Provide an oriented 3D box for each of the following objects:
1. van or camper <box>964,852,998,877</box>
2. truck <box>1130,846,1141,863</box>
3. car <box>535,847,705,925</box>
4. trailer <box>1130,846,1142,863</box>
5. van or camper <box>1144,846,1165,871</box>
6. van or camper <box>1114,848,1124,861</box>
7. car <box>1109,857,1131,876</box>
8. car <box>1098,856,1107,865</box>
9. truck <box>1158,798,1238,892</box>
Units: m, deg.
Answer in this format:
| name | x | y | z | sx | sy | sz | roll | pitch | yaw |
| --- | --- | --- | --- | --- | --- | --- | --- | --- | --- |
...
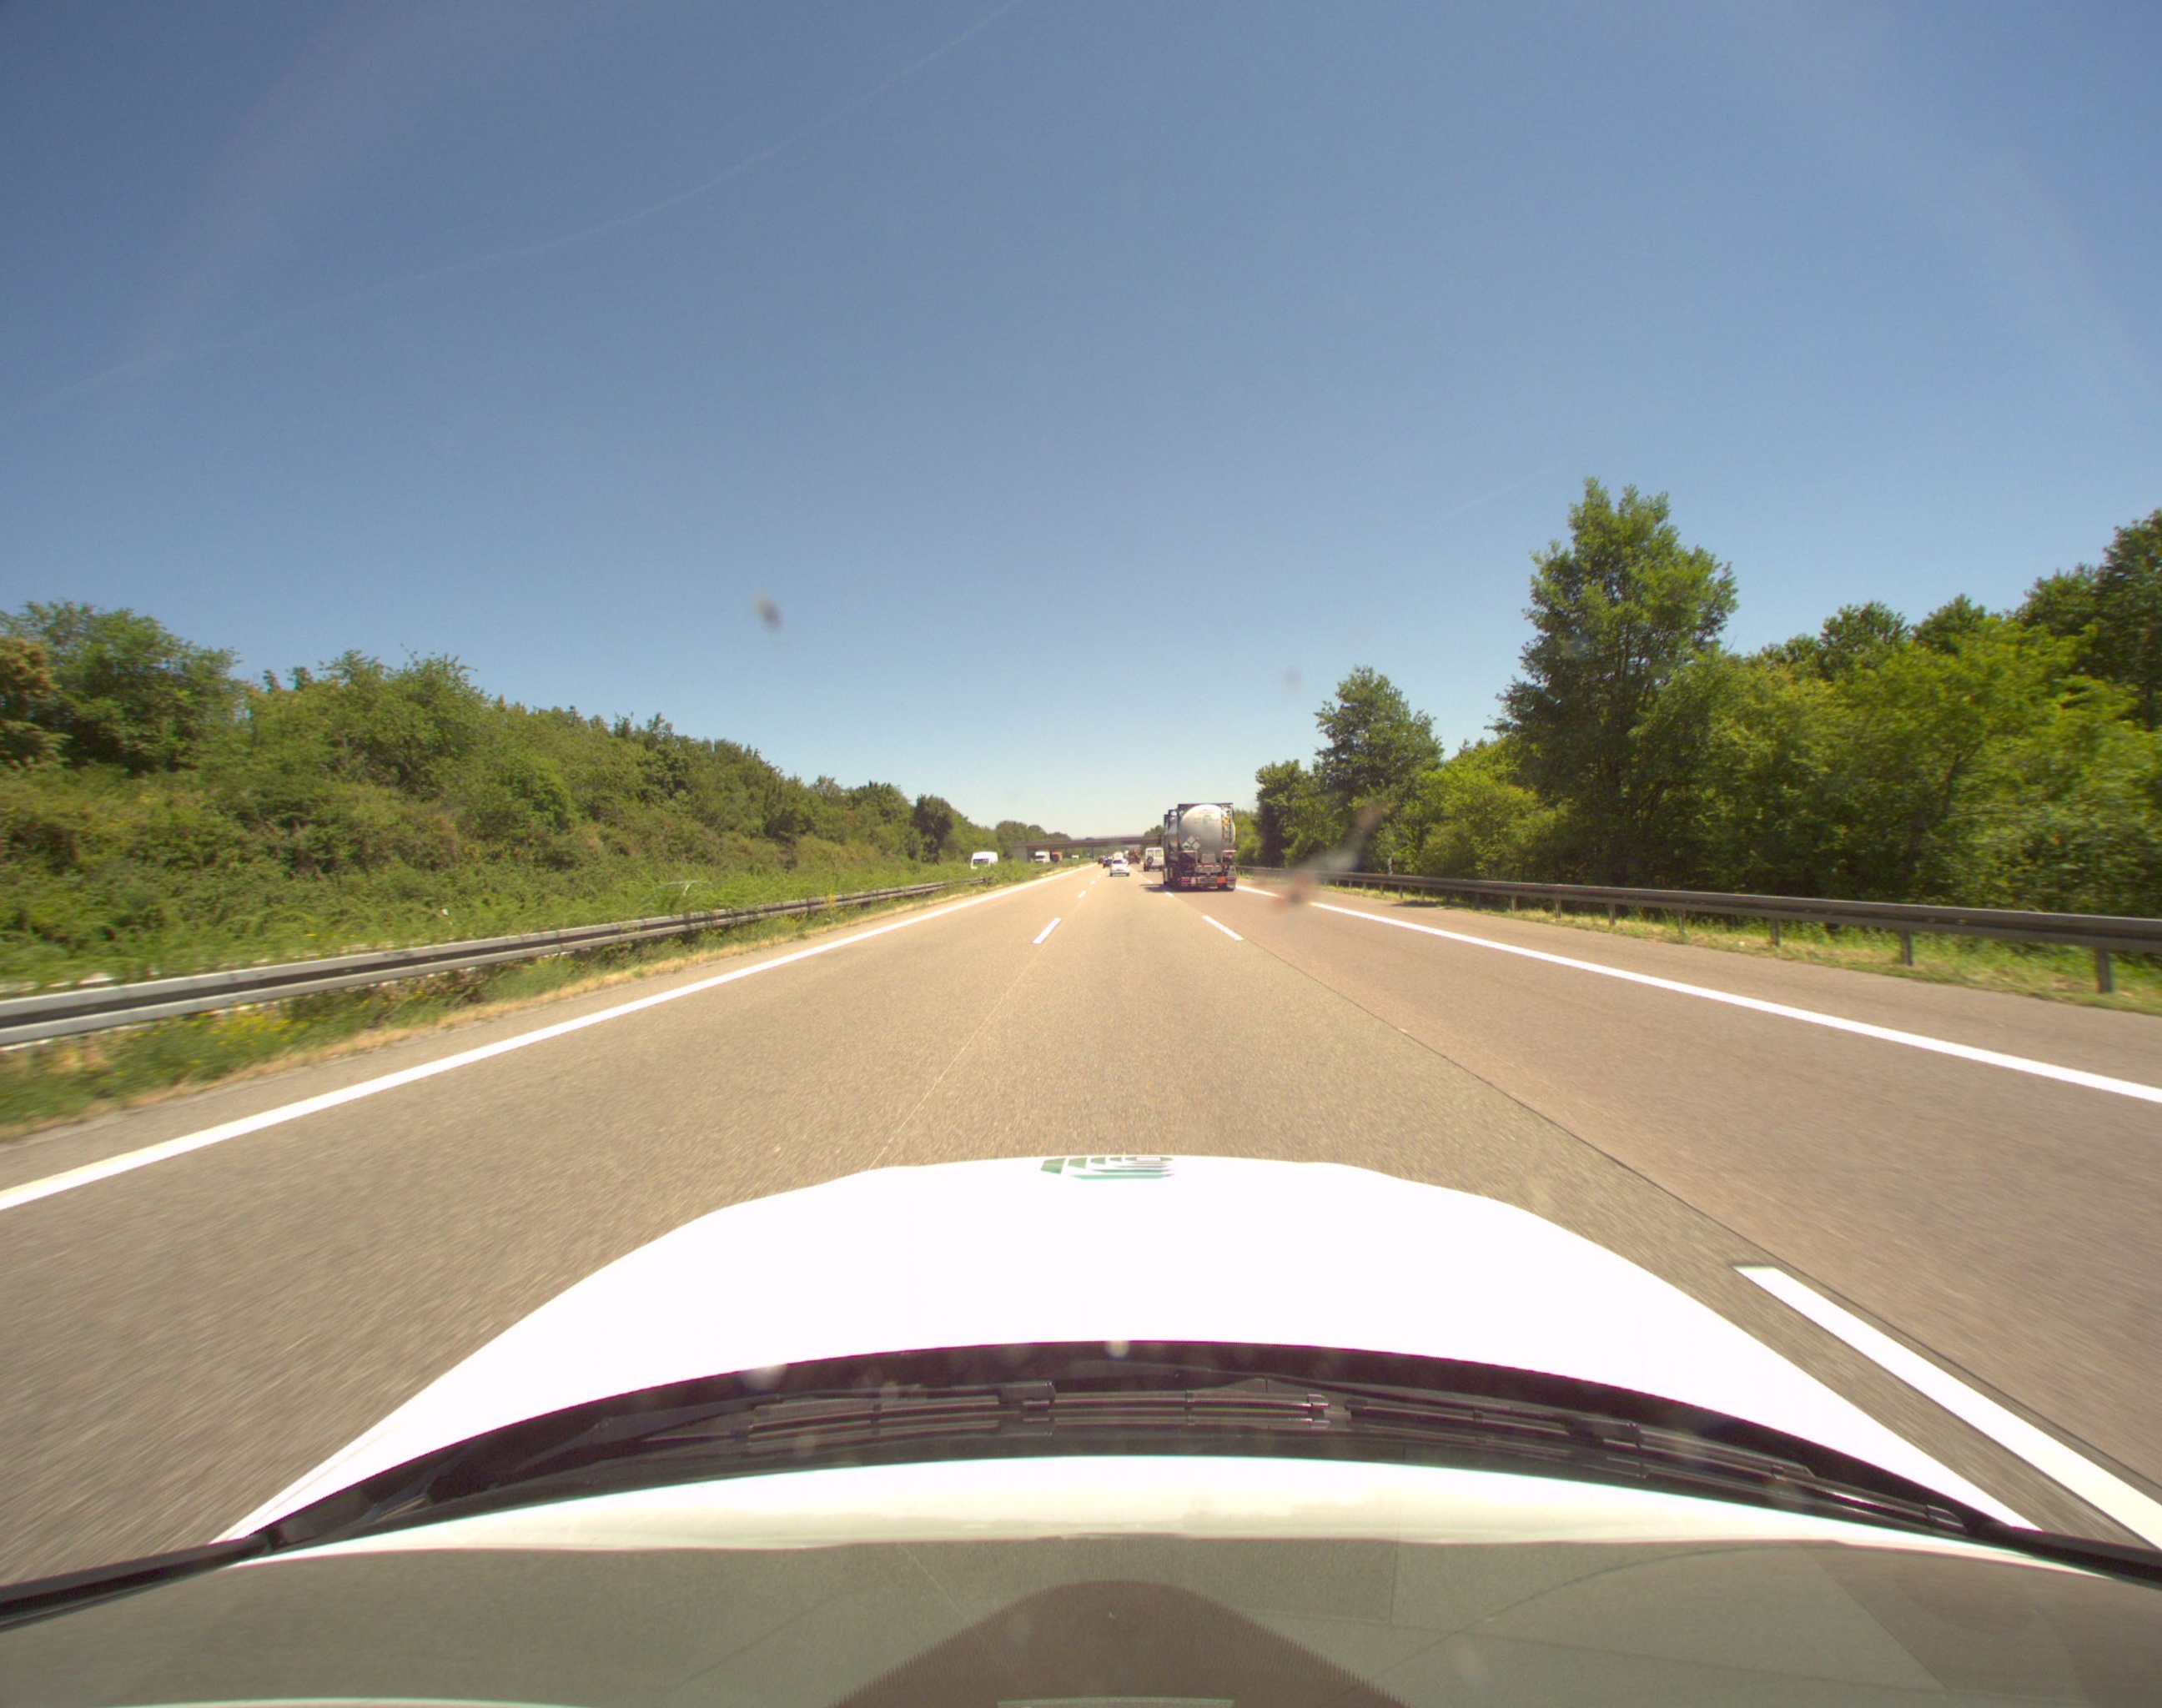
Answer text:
| name | x | y | z | sx | sy | sz | roll | pitch | yaw |
| --- | --- | --- | --- | --- | --- | --- | --- | --- | --- |
| van or camper | -9.754 | 1.009 | 80.046 | 2.416 | 2.366 | 6.339 | 0 | -1 | 2 |
| truck | 13.479 | 0.178 | 201.110 | 2.658 | 3.994 | 6.642 | -1 | 0 | 3 |
| car | -13.492 | 0.870 | 24.281 | 1.986 | 2.003 | 5.046 | -2 | 0 | 2 |
| trailer | 13.018 | 0.202 | 193.856 | 2.642 | 3.958 | 13.648 | -1 | 0 | 3 |
| van or camper | 8.442 | 0.512 | 94.242 | 2.105 | 2.703 | 6.371 | -1 | -1 | 2 |
| van or camper | 7.923 | 0.045 | 170.216 | 2.049 | 2.622 | 5.990 | -1 | -1 | 3 |
| car | 3.395 | 1.077 | 71.584 | 1.850 | 1.652 | 4.002 | 0 | -1 | 2 |
| car | 5.085 | 1.499 | 192.337 | 2.044 | 2.014 | 4.178 | 0 | -1 | 2 |
| truck | 5.723 | -0.338 | 42.144 | 2.787 | 4.046 | 13.361 | 0 | -1 | 2 |
